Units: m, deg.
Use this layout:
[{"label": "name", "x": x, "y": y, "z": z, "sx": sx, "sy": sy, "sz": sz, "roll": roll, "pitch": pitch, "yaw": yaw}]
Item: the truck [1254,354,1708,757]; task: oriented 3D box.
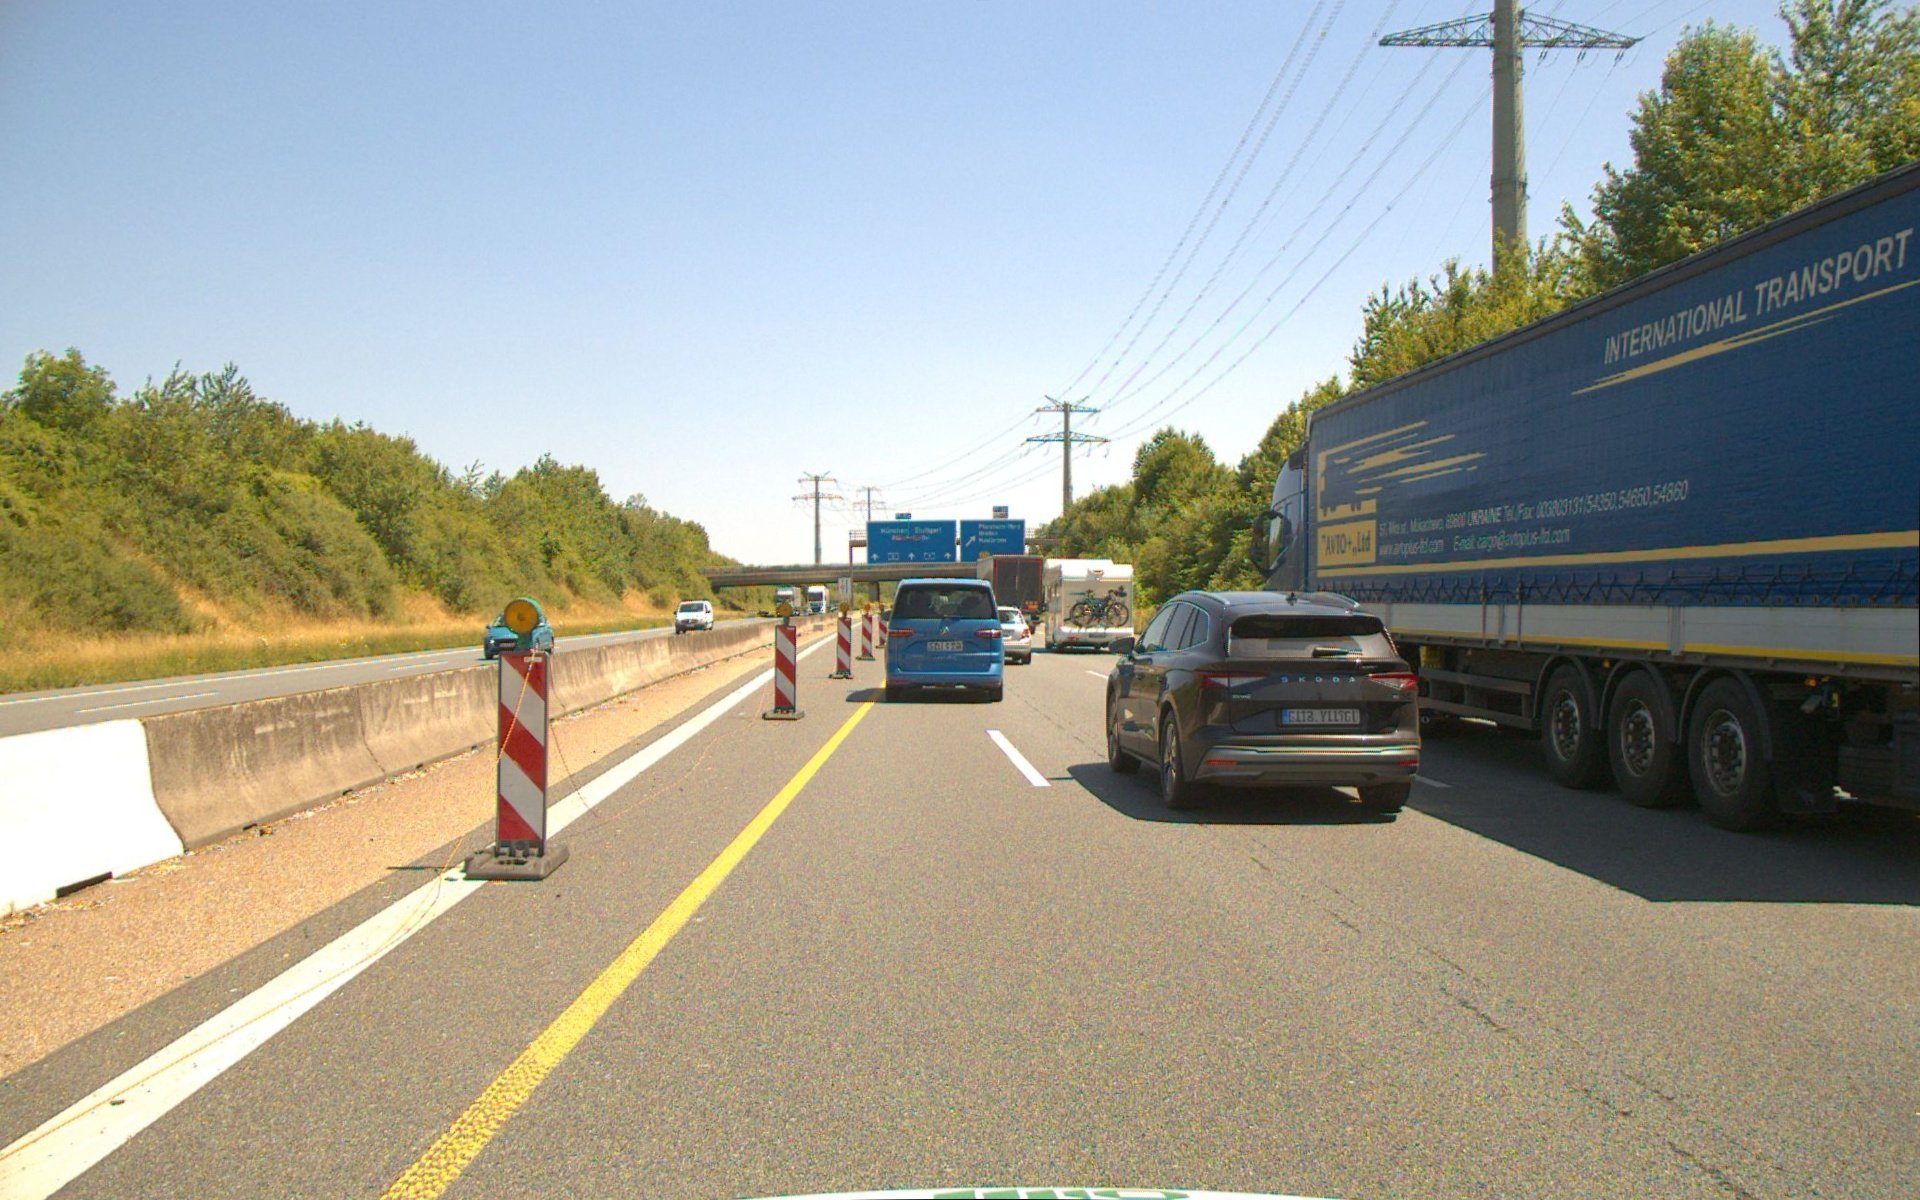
[{"label": "truck", "x": 6.111, "y": -0.454, "z": 21.052, "sx": 2.964, "sy": 4.159, "sz": 7.790, "roll": 0, "pitch": 0, "yaw": -3}]

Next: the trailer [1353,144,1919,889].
[{"label": "trailer", "x": 6.520, "y": -0.458, "z": 14.101, "sx": 3.004, "sy": 4.113, "sz": 11.479, "roll": 0, "pitch": 0, "yaw": -3}]

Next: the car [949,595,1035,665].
[{"label": "car", "x": 0.761, "y": 0.730, "z": 42.591, "sx": 1.858, "sy": 1.535, "sz": 4.441, "roll": 2, "pitch": 2, "yaw": -3}]

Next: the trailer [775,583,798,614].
[{"label": "trailer", "x": -25.160, "y": -0.220, "z": 240.075, "sx": 2.430, "sy": 4.253, "sz": 12.079, "roll": -1, "pitch": 0, "yaw": -2}]

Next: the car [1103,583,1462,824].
[{"label": "car", "x": 2.399, "y": 0.700, "z": 13.506, "sx": 1.858, "sy": 1.620, "sz": 4.440, "roll": 1, "pitch": 0, "yaw": -3}]

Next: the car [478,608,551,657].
[{"label": "car", "x": -14.520, "y": 1.040, "z": 54.040, "sx": 1.854, "sy": 1.544, "sz": 3.474, "roll": 0, "pitch": 0, "yaw": -8}]

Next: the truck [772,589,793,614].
[{"label": "truck", "x": -24.864, "y": 0.221, "z": 232.203, "sx": 2.415, "sy": 3.345, "sz": 6.921, "roll": -1, "pitch": 0, "yaw": -2}]

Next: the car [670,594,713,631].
[{"label": "car", "x": -16.119, "y": 0.732, "z": 99.488, "sx": 1.924, "sy": 2.121, "sz": 4.936, "roll": -1, "pitch": 0, "yaw": -3}]

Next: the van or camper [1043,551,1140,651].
[{"label": "van or camper", "x": 4.182, "y": 0.034, "z": 53.540, "sx": 2.534, "sy": 3.020, "sz": 6.083, "roll": 1, "pitch": 0, "yaw": -1}]

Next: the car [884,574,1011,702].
[{"label": "car", "x": -0.293, "y": 0.604, "z": 27.109, "sx": 1.858, "sy": 1.874, "sz": 4.439, "roll": 2, "pitch": -1, "yaw": -3}]

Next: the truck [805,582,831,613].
[{"label": "truck", "x": -20.556, "y": -0.371, "z": 240.175, "sx": 3.099, "sy": 4.298, "sz": 7.414, "roll": -1, "pitch": 0, "yaw": 0}]

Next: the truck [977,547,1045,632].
[{"label": "truck", "x": 2.645, "y": -0.504, "z": 89.357, "sx": 3.015, "sy": 4.219, "sz": 13.051, "roll": 1, "pitch": 0, "yaw": -1}]
